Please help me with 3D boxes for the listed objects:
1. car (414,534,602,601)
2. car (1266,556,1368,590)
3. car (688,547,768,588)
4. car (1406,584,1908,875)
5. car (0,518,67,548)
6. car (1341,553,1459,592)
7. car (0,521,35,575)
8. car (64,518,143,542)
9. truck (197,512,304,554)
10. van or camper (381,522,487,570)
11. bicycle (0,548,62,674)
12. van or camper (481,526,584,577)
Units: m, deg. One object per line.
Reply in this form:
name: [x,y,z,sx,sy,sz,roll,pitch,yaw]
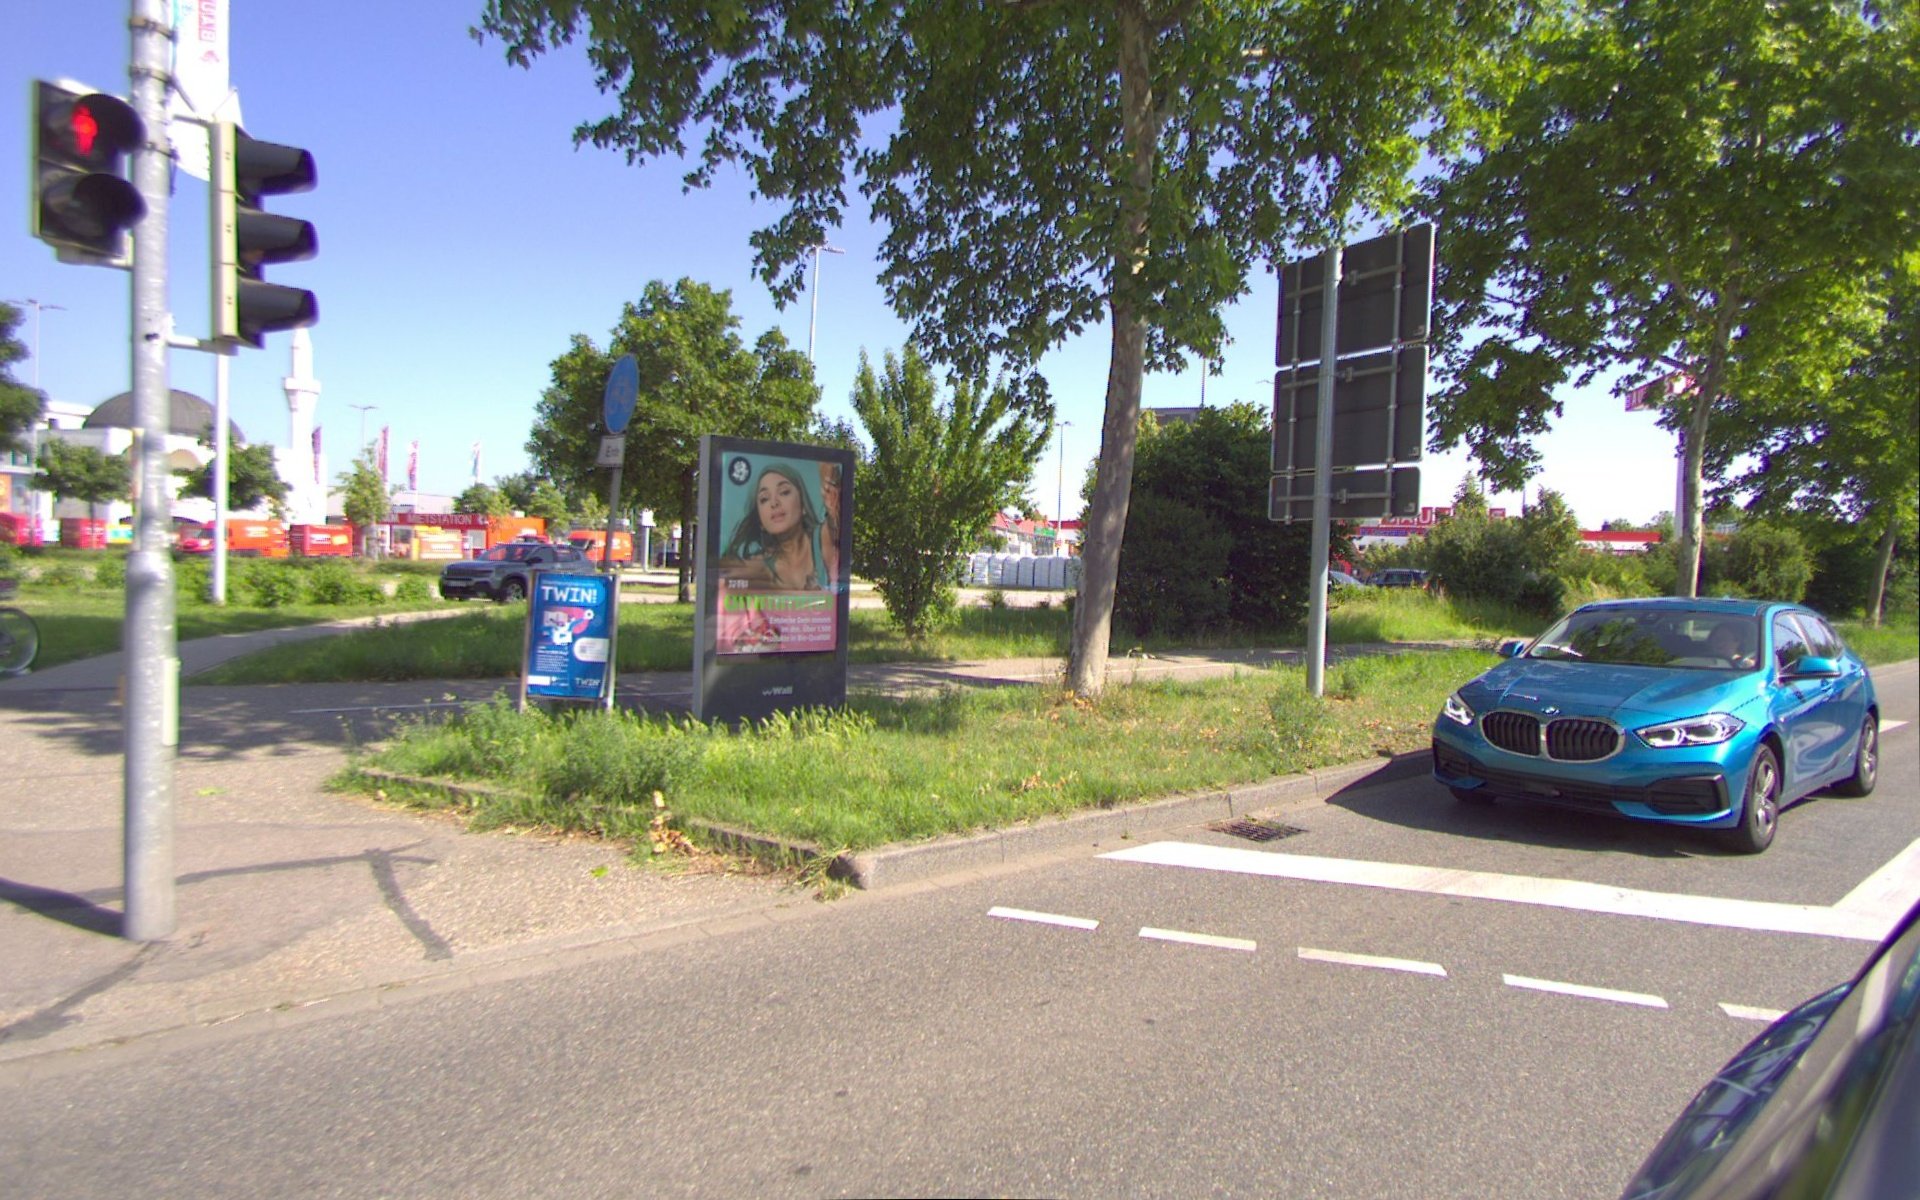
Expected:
car: [-10.583,-0.731,24.006,1.882,1.438,3.975,-1,1,19]
car: [14.035,-1.046,39.912,1.582,1.263,3.531,-1,1,-34]
car: [-9.317,-1.284,40.840,1.524,1.552,3.465,-1,1,19]
car: [5.072,0.628,7.165,4.057,1.437,1.872,-1,2,-39]
car: [-71.486,-5.117,77.735,1.968,2.039,3.988,-1,1,10]
car: [17.967,-1.097,41.443,1.962,1.501,4.001,-1,1,-34]
car: [-31.925,-1.649,31.676,1.980,1.705,3.964,0,1,26]
car: [-76.412,-6.206,90.360,1.978,1.776,5.104,0,1,24]
truck: [-46.203,-4.326,66.110,1.973,2.442,5.750,-1,1,17]
van or camper: [-35.891,-3.624,69.403,1.972,2.979,7.250,-1,1,16]
bicycle: [-9.067,0.097,9.294,0.485,1.153,1.914,-1,3,-18]
van or camper: [-27.473,-3.040,65.364,1.972,2.979,7.250,-1,1,16]
